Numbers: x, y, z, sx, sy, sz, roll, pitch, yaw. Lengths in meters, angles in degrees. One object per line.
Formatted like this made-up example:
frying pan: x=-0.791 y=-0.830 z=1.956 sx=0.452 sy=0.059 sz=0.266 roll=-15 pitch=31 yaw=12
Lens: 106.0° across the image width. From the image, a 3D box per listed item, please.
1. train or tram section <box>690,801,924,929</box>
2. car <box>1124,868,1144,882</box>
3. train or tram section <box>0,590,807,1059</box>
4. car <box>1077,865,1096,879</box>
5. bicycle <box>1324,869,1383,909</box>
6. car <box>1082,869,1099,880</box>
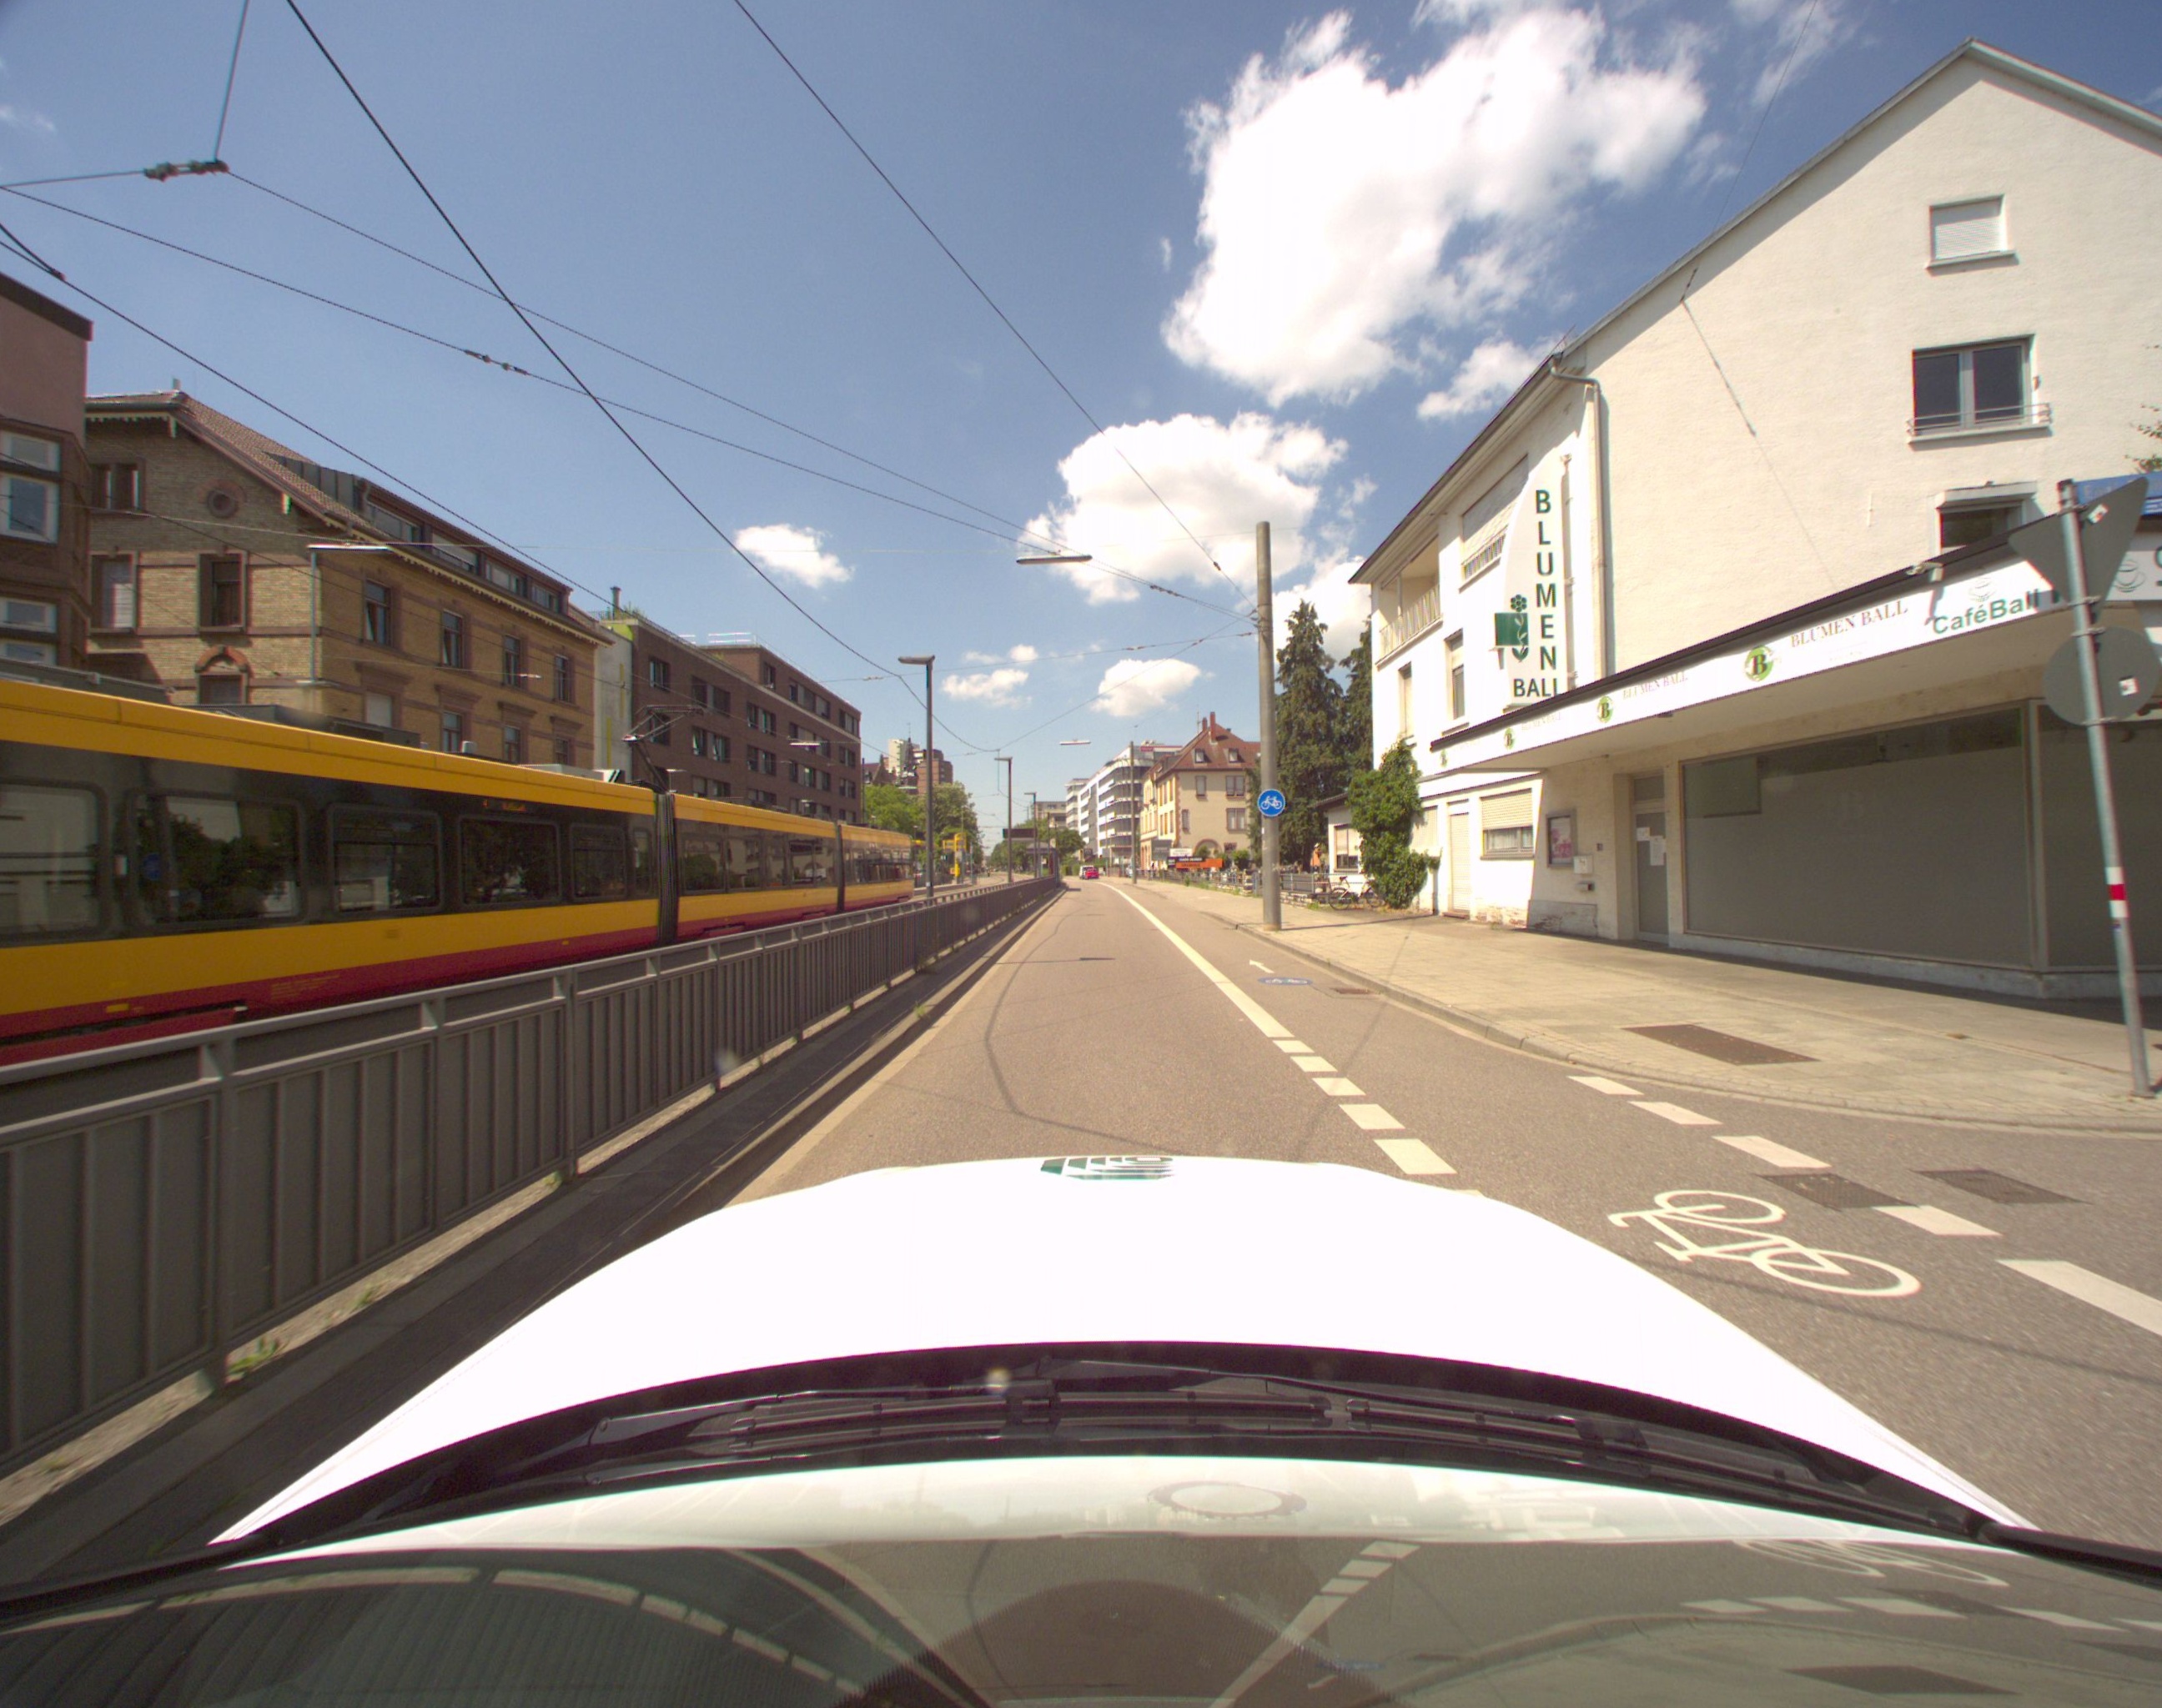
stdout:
train or tram section: x=-9.424 y=0.537 z=31.481 sx=3.224 sy=3.567 sz=16.348 roll=-1 pitch=-2 yaw=1
car: x=6.810 y=2.661 z=104.784 sx=1.874 sy=1.624 sz=4.632 roll=-4 pitch=-1 yaw=-4
train or tram section: x=-9.710 y=0.007 z=13.217 sx=3.239 sy=3.567 sz=20.499 roll=-1 pitch=-2 yaw=1
car: x=0.783 y=2.664 z=120.830 sx=1.992 sy=1.992 sz=5.501 roll=-3 pitch=-1 yaw=-7
bicycle: x=7.922 y=1.010 z=23.704 sx=1.525 sy=1.086 sz=0.430 roll=-3 pitch=-2 yaw=6
car: x=1.286 y=2.902 z=114.322 sx=1.990 sy=1.442 sz=4.009 roll=-1 pitch=-1 yaw=-5
